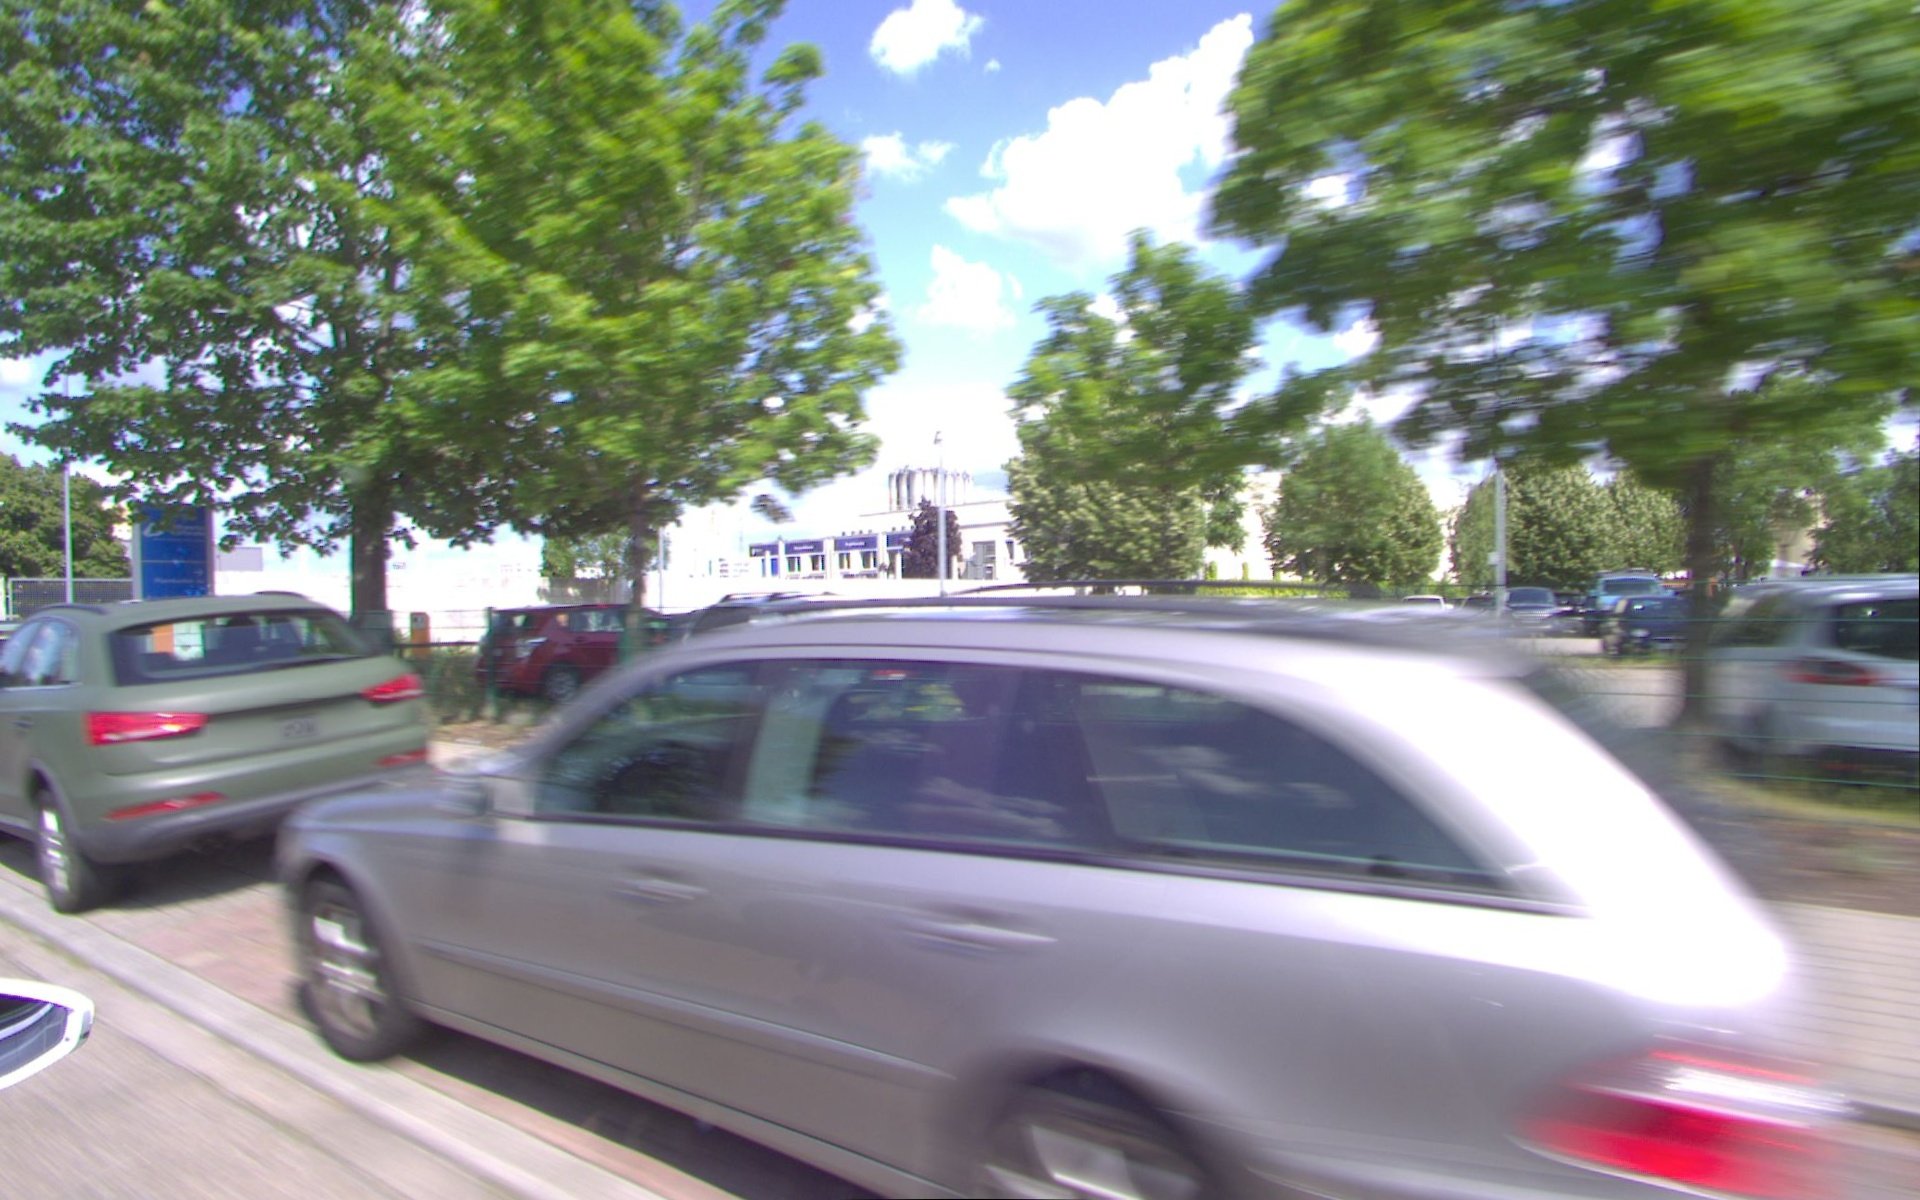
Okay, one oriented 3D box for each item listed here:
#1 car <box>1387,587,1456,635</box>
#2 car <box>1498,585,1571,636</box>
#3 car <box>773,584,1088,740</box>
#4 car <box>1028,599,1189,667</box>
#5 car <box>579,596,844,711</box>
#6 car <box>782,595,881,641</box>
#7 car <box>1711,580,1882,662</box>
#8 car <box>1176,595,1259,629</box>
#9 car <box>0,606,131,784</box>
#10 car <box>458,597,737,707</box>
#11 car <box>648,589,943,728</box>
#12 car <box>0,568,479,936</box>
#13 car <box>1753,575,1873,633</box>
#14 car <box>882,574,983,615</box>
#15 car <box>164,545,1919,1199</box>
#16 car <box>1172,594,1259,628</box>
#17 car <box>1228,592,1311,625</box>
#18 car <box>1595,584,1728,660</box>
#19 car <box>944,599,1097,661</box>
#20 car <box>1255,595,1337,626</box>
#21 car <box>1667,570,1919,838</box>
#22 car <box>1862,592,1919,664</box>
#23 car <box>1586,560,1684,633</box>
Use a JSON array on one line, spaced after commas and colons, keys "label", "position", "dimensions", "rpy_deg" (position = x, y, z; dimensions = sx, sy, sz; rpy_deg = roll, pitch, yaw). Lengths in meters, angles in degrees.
[{"label": "car", "position": [16.168, 0.423, 34.953], "dimensions": [1.969, 1.577, 4.266], "rpy_deg": [0, -2, 28]}, {"label": "car", "position": [18.890, 0.386, 33.027], "dimensions": [1.970, 1.576, 3.984], "rpy_deg": [-1, -2, 29]}, {"label": "car", "position": [-0.215, 0.637, 12.441], "dimensions": [1.886, 1.614, 3.859], "rpy_deg": [-1, 0, 38]}, {"label": "car", "position": [3.499, 0.696, 23.098], "dimensions": [1.823, 1.414, 3.984], "rpy_deg": [0, 0, 41]}, {"label": "car", "position": [-3.941, 0.776, 16.393], "dimensions": [1.886, 1.614, 3.859], "rpy_deg": [-1, 0, 38]}, {"label": "car", "position": [-4.800, 0.682, 37.012], "dimensions": [1.721, 1.569, 3.966], "rpy_deg": [-1, -1, -40]}, {"label": "car", "position": [17.987, 0.446, 21.780], "dimensions": [1.969, 1.577, 4.264], "rpy_deg": [-1, -1, 28]}, {"label": "car", "position": [12.578, 0.618, 49.016], "dimensions": [1.758, 1.569, 3.625], "rpy_deg": [-1, -1, -39]}, {"label": "car", "position": [-9.992, 0.898, 9.818], "dimensions": [3.753, 1.507, 1.695], "rpy_deg": [-1, 3, 32]}, {"label": "car", "position": [-6.151, 0.803, 17.412], "dimensions": [1.886, 1.614, 4.192], "rpy_deg": [-1, 0, 37]}, {"label": "car", "position": [-2.177, 0.707, 14.141], "dimensions": [1.886, 1.659, 3.859], "rpy_deg": [-1, 0, 38]}, {"label": "car", "position": [-5.327, 0.718, 6.660], "dimensions": [4.508, 1.630, 1.825], "rpy_deg": [-1, 3, 36]}, {"label": "car", "position": [25.102, 0.169, 29.610], "dimensions": [1.862, 1.576, 3.985], "rpy_deg": [-1, -2, 28]}, {"label": "car", "position": [-1.112, -0.187, 39.206], "dimensions": [3.958, 1.473, 1.644], "rpy_deg": [-2, -1, 43]}, {"label": "car", "position": [-0.349, 0.696, 3.269], "dimensions": [5.094, 1.497, 1.870], "rpy_deg": [-1, 2, 32]}, {"label": "car", "position": [12.650, 0.583, 49.731], "dimensions": [1.889, 1.613, 3.856], "rpy_deg": [1, -2, -40]}, {"label": "car", "position": [16.346, 0.488, 53.026], "dimensions": [1.889, 1.613, 3.856], "rpy_deg": [1, -2, -40]}, {"label": "car", "position": [16.175, 0.501, 23.309], "dimensions": [1.969, 1.577, 4.264], "rpy_deg": [-1, -1, 28]}, {"label": "car", "position": [1.564, 0.692, 25.043], "dimensions": [1.990, 1.414, 3.735], "rpy_deg": [-1, 0, 40]}, {"label": "car", "position": [18.399, 0.588, 54.904], "dimensions": [1.732, 1.569, 3.970], "rpy_deg": [-1, -1, -37]}, {"label": "car", "position": [7.123, 0.601, 7.978], "dimensions": [1.735, 1.643, 4.314], "rpy_deg": [-1, 1, 26]}, {"label": "car", "position": [20.386, 0.595, 20.551], "dimensions": [1.724, 1.431, 3.750], "rpy_deg": [2, 0, 25]}, {"label": "car", "position": [21.443, -0.020, 32.020], "dimensions": [2.078, 2.130, 4.924], "rpy_deg": [-1, -2, 28]}]
